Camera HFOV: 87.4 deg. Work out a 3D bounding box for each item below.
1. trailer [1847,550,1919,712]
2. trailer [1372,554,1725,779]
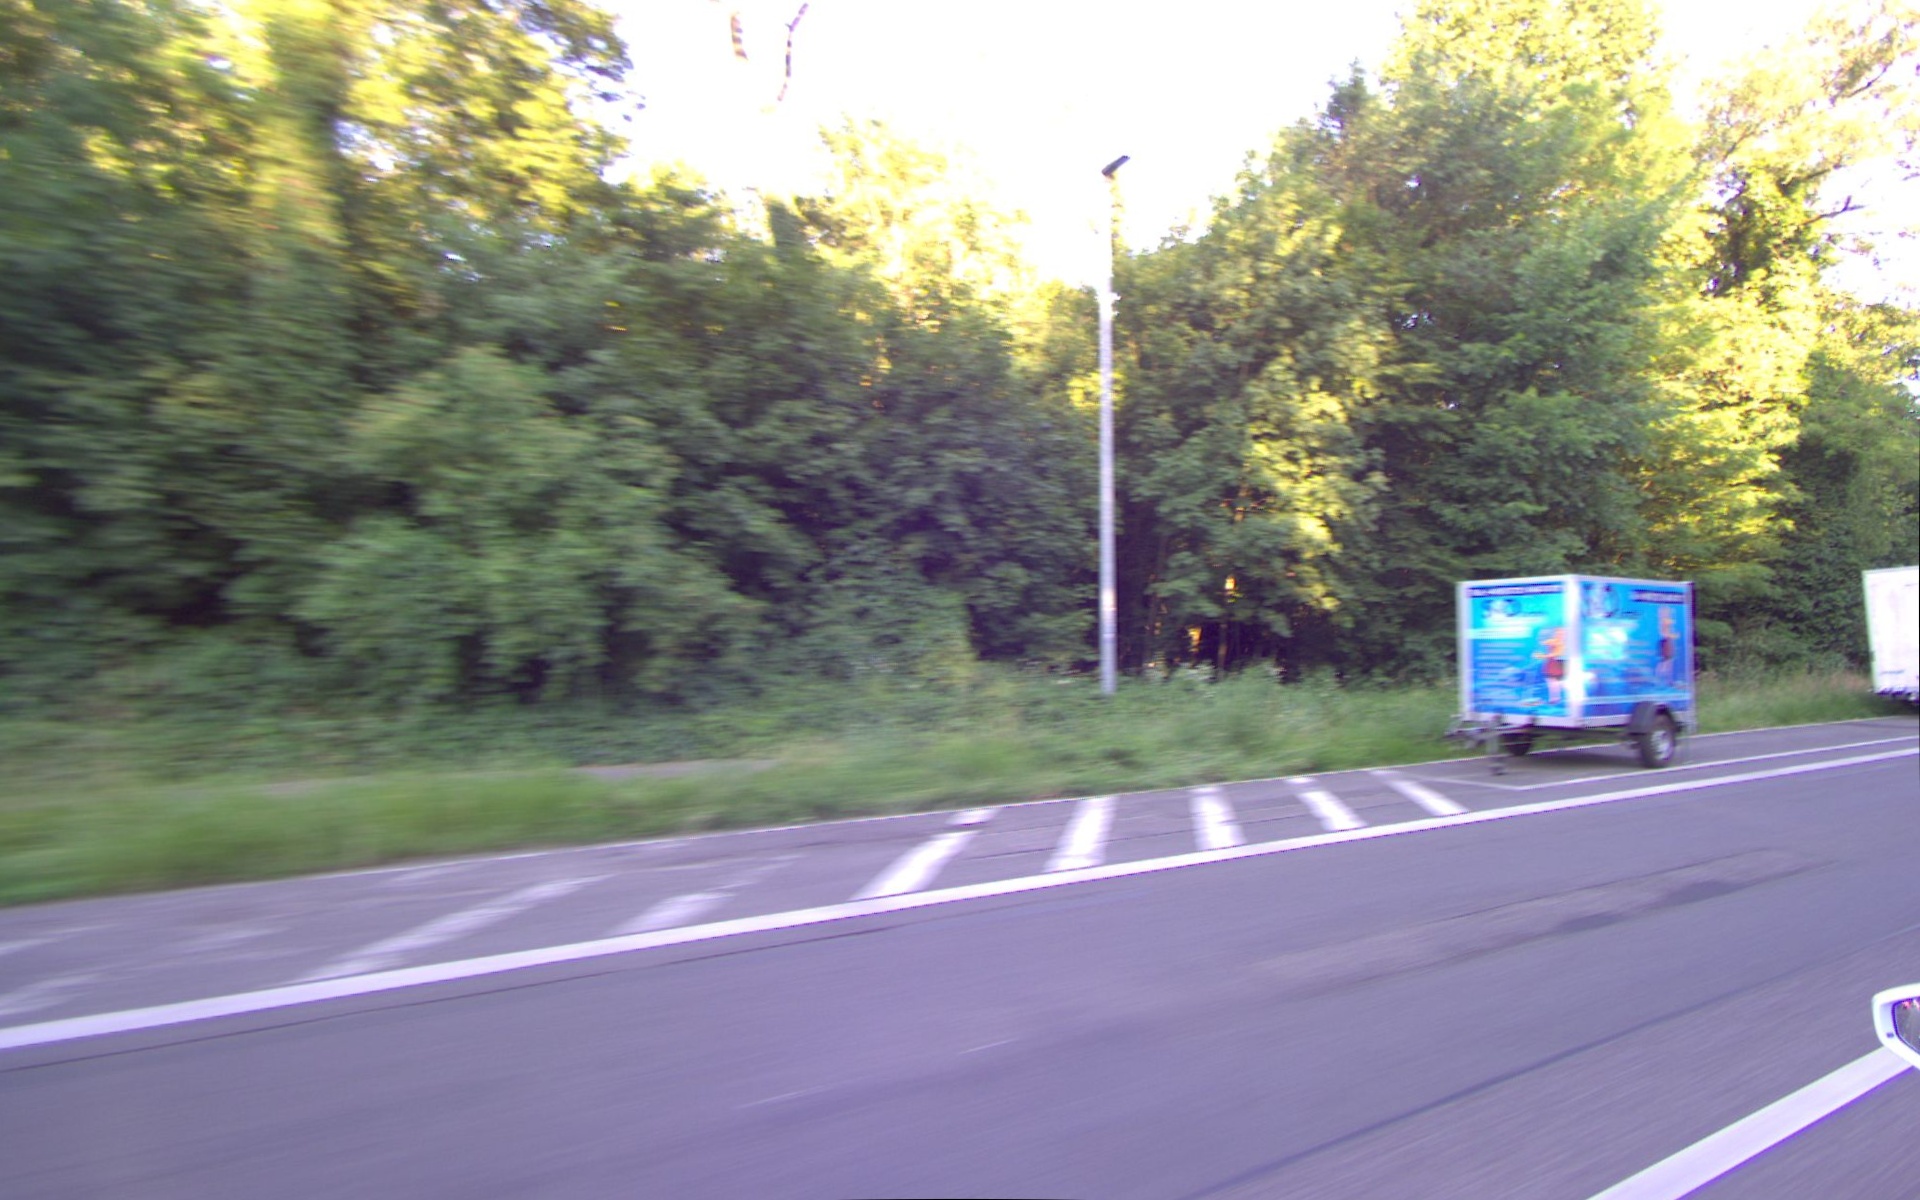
[{"bbox_3d":[20.014,0.598,19.662,5.562,2.962,2.315,1,-3,-31],"label":"trailer"},{"bbox_3d":[6.893,0.707,11.685,4.095,2.196,1.808,1,-2,-31],"label":"trailer"}]
